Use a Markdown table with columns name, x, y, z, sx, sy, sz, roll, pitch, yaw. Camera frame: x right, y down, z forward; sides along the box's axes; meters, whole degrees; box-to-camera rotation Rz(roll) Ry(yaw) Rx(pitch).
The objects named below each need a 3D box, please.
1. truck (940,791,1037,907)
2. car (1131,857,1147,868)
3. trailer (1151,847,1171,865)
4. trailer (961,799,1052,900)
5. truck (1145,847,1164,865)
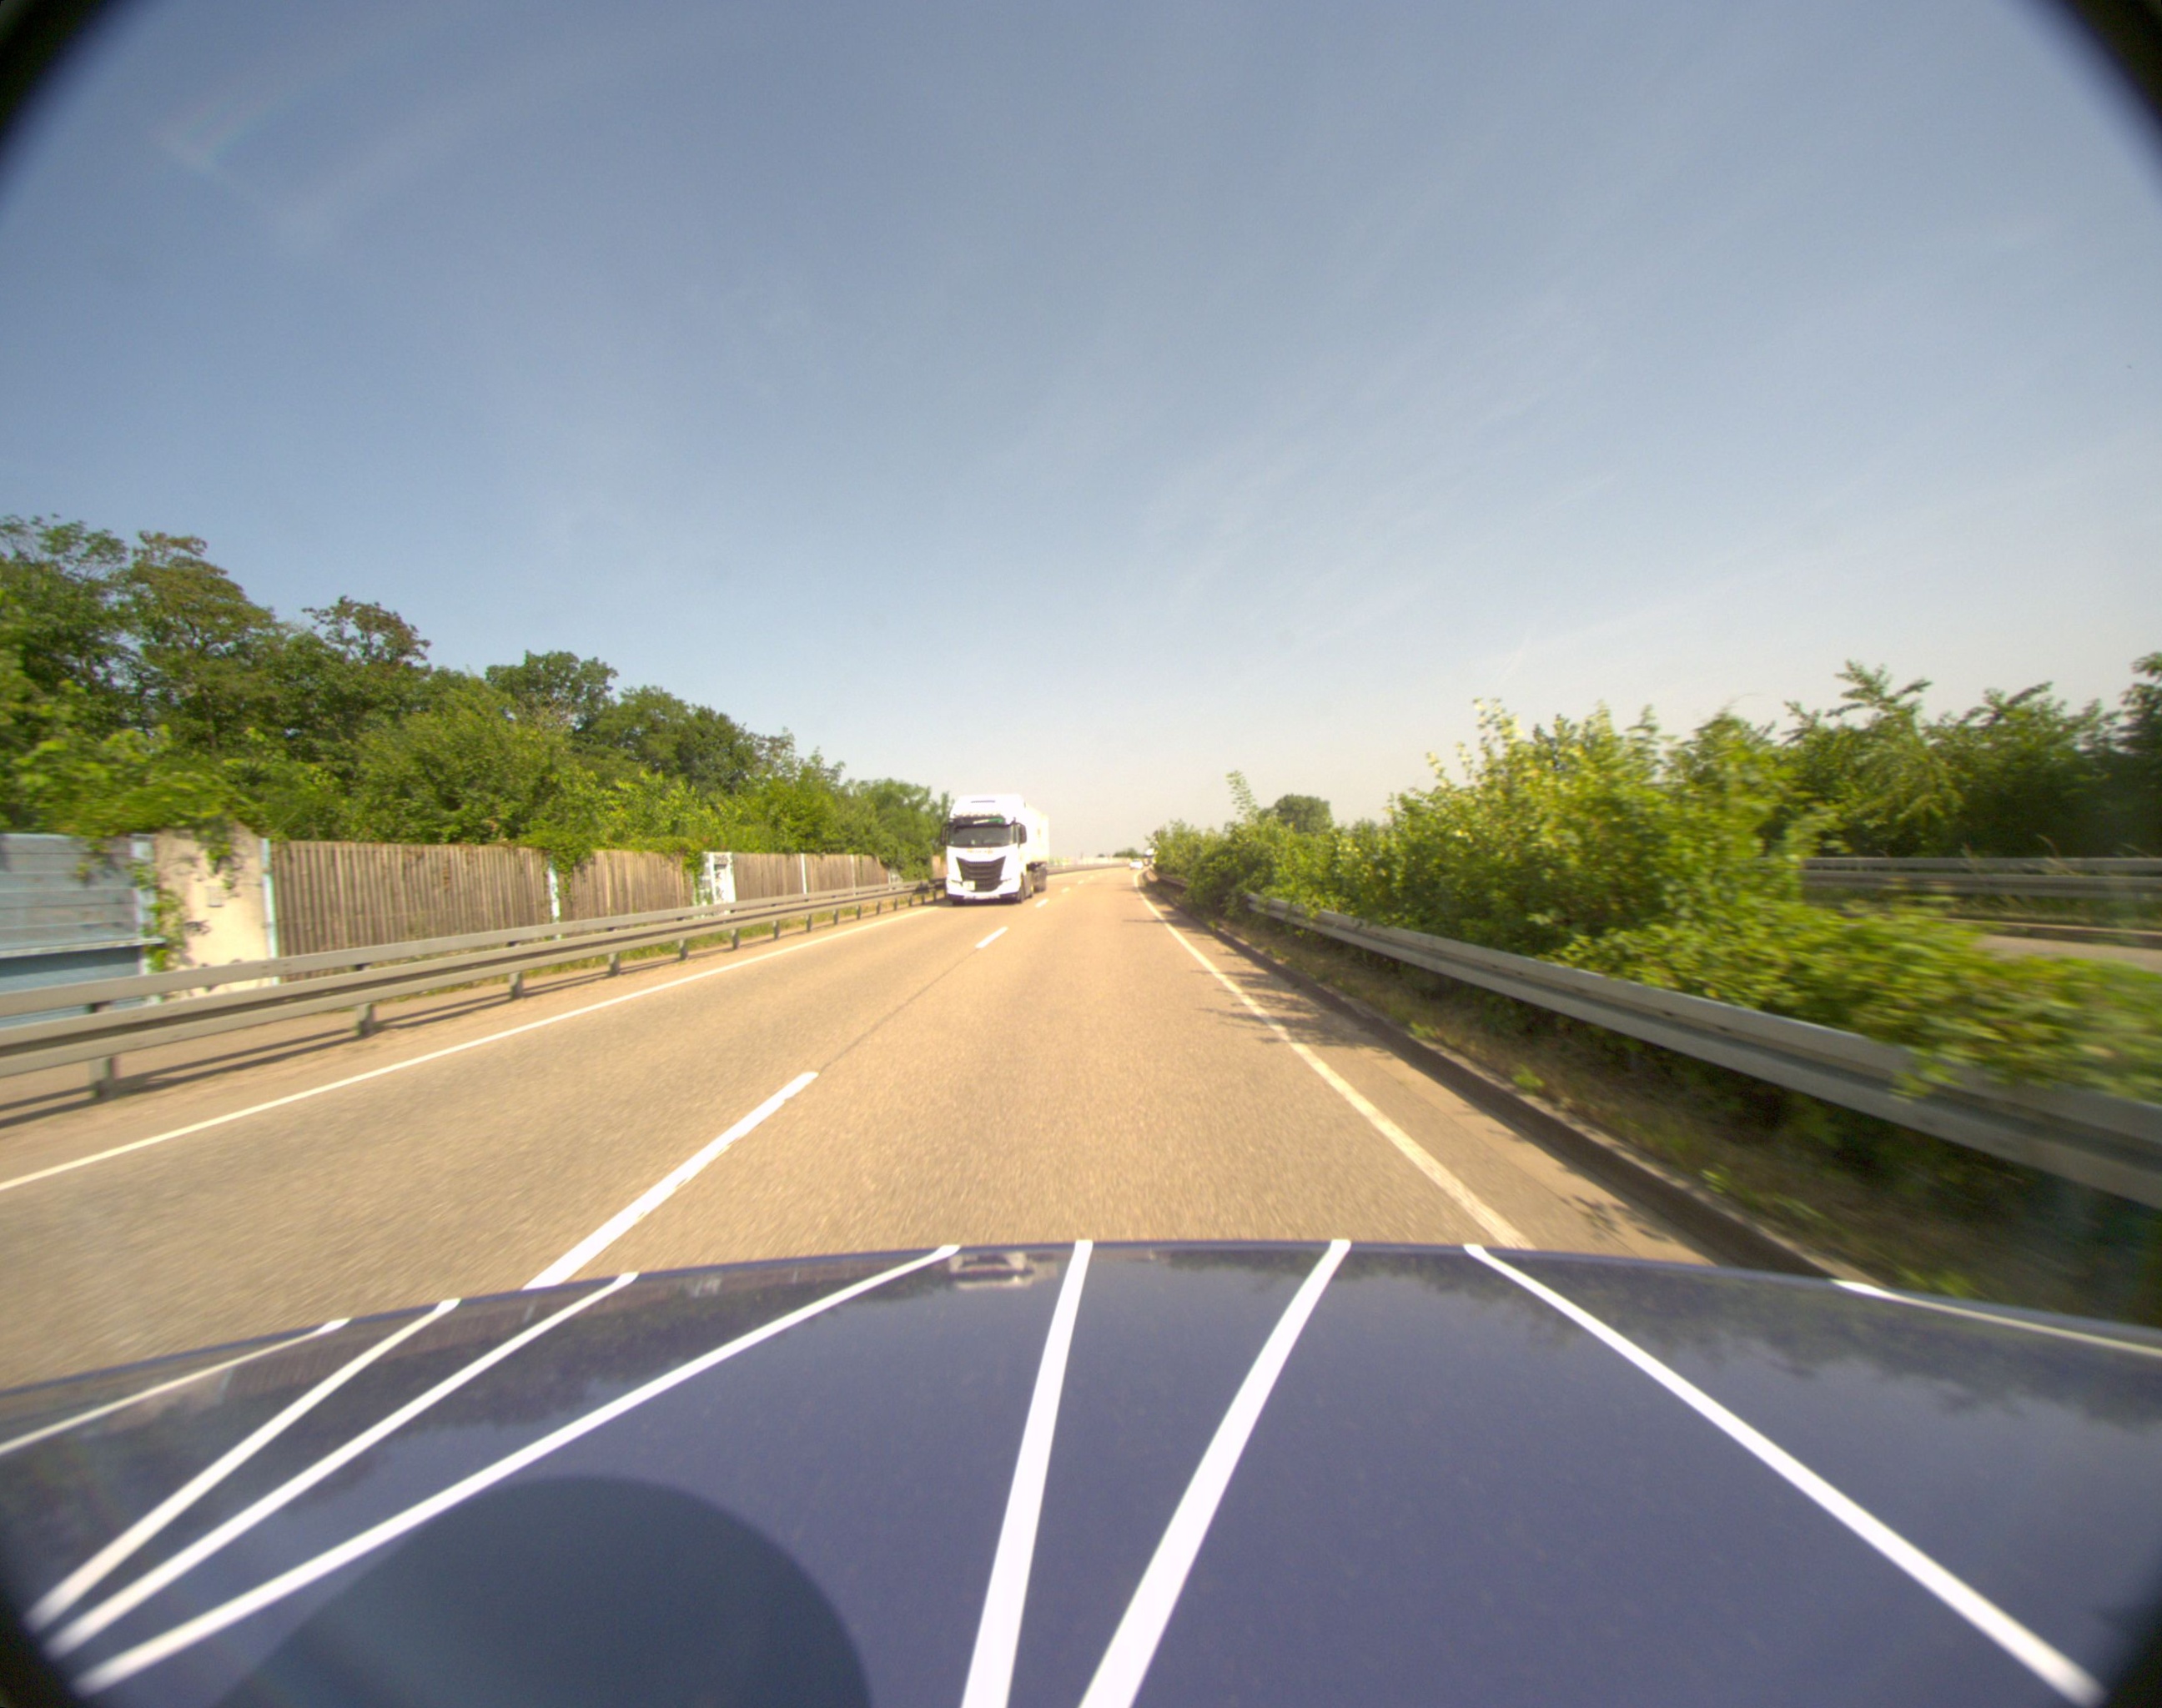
| name | x | y | z | sx | sy | sz | roll | pitch | yaw |
| --- | --- | --- | --- | --- | --- | --- | --- | --- | --- |
| truck | -3.346 | -0.168 | 28.845 | 2.665 | 3.873 | 5.648 | -2 | 0 | 2 |
| car | 8.349 | 1.204 | 108.823 | 1.788 | 1.427 | 4.003 | -3 | -1 | 10 |
| trailer | 18.877 | 0.406 | 178.740 | 2.760 | 3.968 | 8.198 | -2 | 0 | 20 |
| trailer | -3.094 | -0.117 | 34.518 | 2.686 | 3.884 | 9.674 | -2 | -1 | 2 |
| truck | 16.862 | 0.417 | 173.523 | 2.775 | 3.938 | 5.636 | -2 | 0 | 21 |
